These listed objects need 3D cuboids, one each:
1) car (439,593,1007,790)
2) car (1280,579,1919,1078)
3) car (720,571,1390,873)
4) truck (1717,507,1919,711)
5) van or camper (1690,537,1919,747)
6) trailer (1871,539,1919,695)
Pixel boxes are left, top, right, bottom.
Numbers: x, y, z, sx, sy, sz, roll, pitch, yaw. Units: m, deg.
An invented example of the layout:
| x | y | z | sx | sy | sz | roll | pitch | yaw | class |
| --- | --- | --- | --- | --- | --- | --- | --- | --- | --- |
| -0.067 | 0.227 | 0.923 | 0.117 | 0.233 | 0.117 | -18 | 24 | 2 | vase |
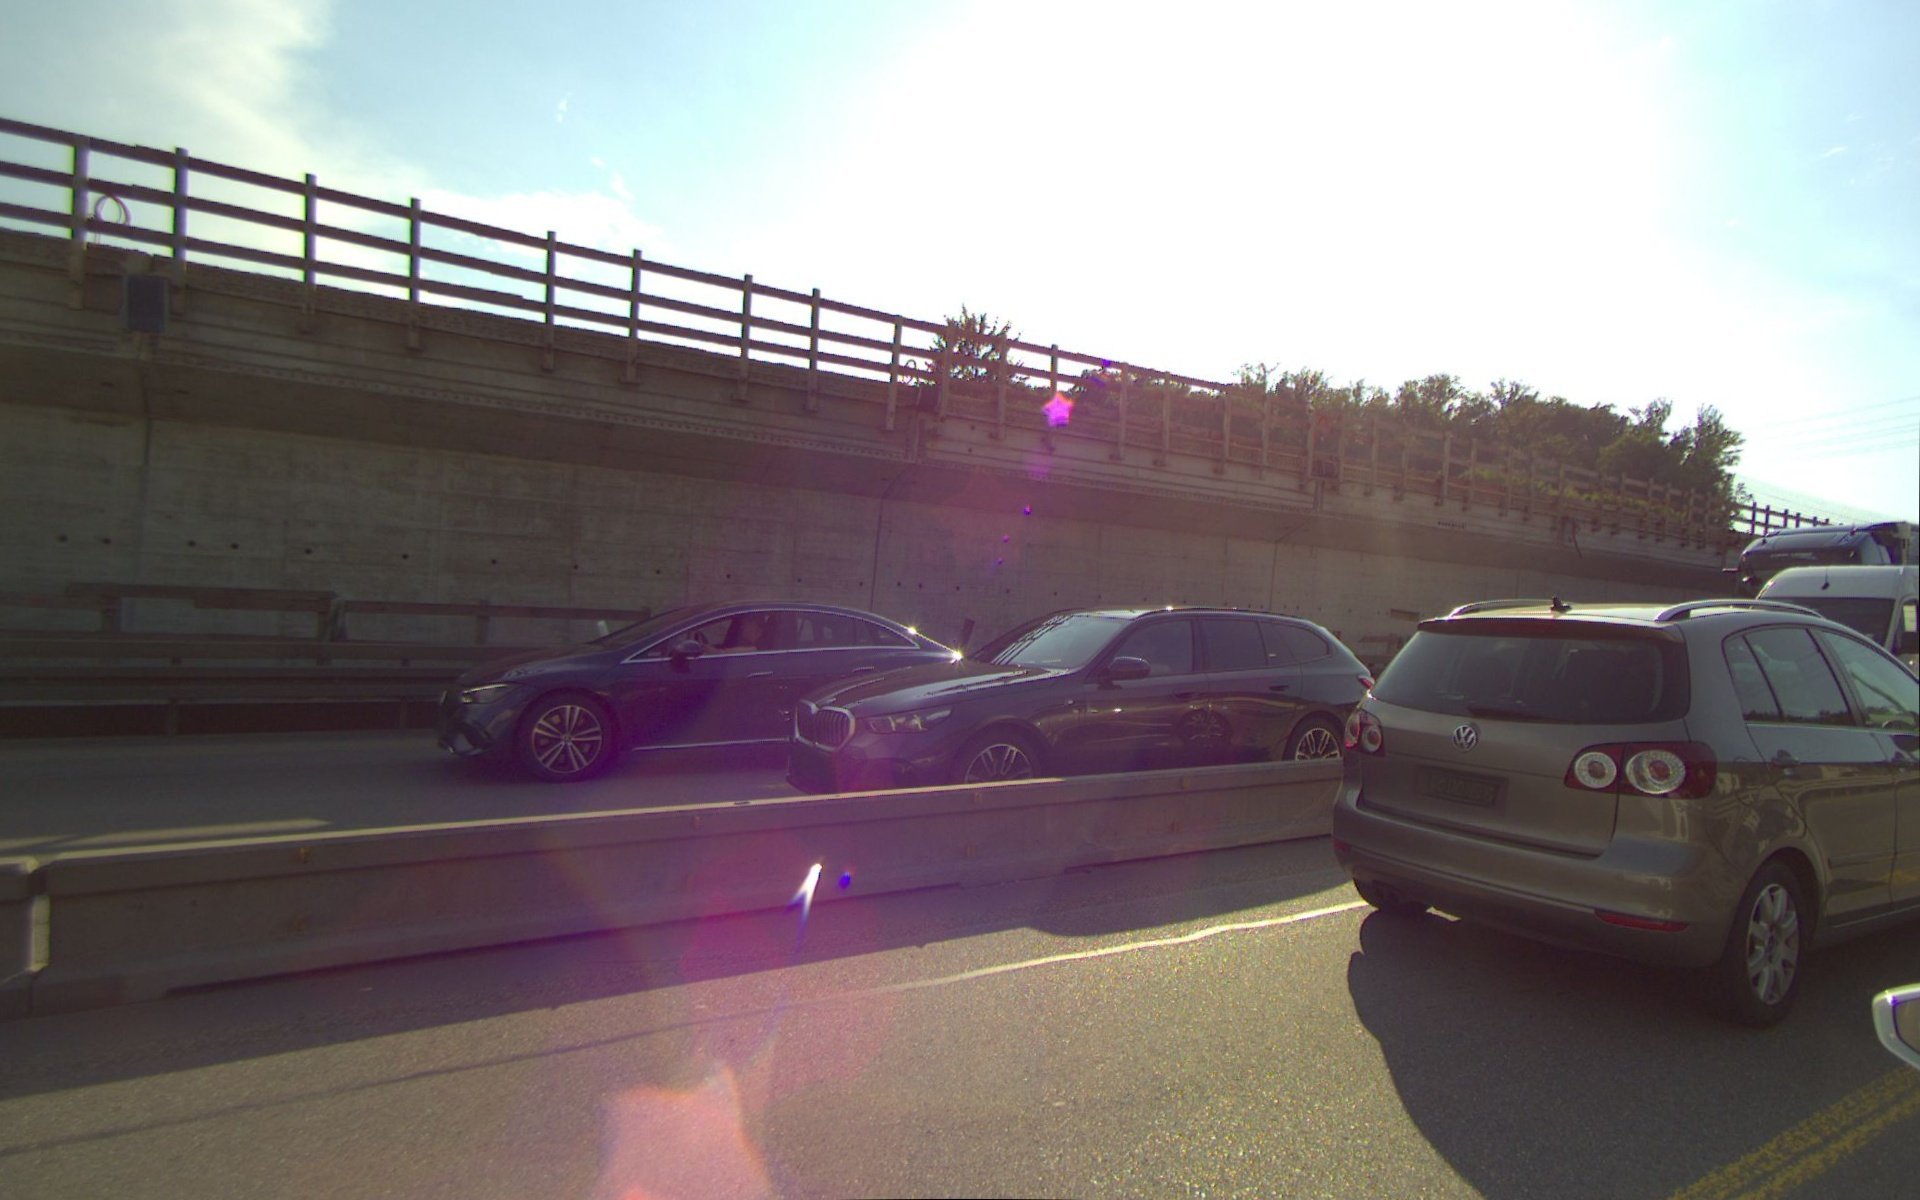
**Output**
| x | y | z | sx | sy | sz | roll | pitch | yaw | class |
| --- | --- | --- | --- | --- | --- | --- | --- | --- | --- |
| -2.112 | 0.760 | 9.464 | 4.844 | 1.440 | 1.962 | 2 | -1 | -31 | car |
| 3.747 | 0.777 | 5.027 | 4.221 | 1.609 | 1.673 | 2 | 0 | -30 | car |
| 0.860 | 0.773 | 7.569 | 4.813 | 1.615 | 1.827 | 3 | 2 | -31 | car |
| 21.852 | 0.336 | 24.156 | 9.521 | 4.167 | 2.610 | 2 | -1 | -32 | truck |
| 13.818 | 0.652 | 15.513 | 5.889 | 2.742 | 1.984 | 2 | -1 | -31 | van or camper |
| 29.872 | 0.611 | 29.315 | 9.525 | 4.167 | 2.591 | 2 | -2 | -33 | trailer |
